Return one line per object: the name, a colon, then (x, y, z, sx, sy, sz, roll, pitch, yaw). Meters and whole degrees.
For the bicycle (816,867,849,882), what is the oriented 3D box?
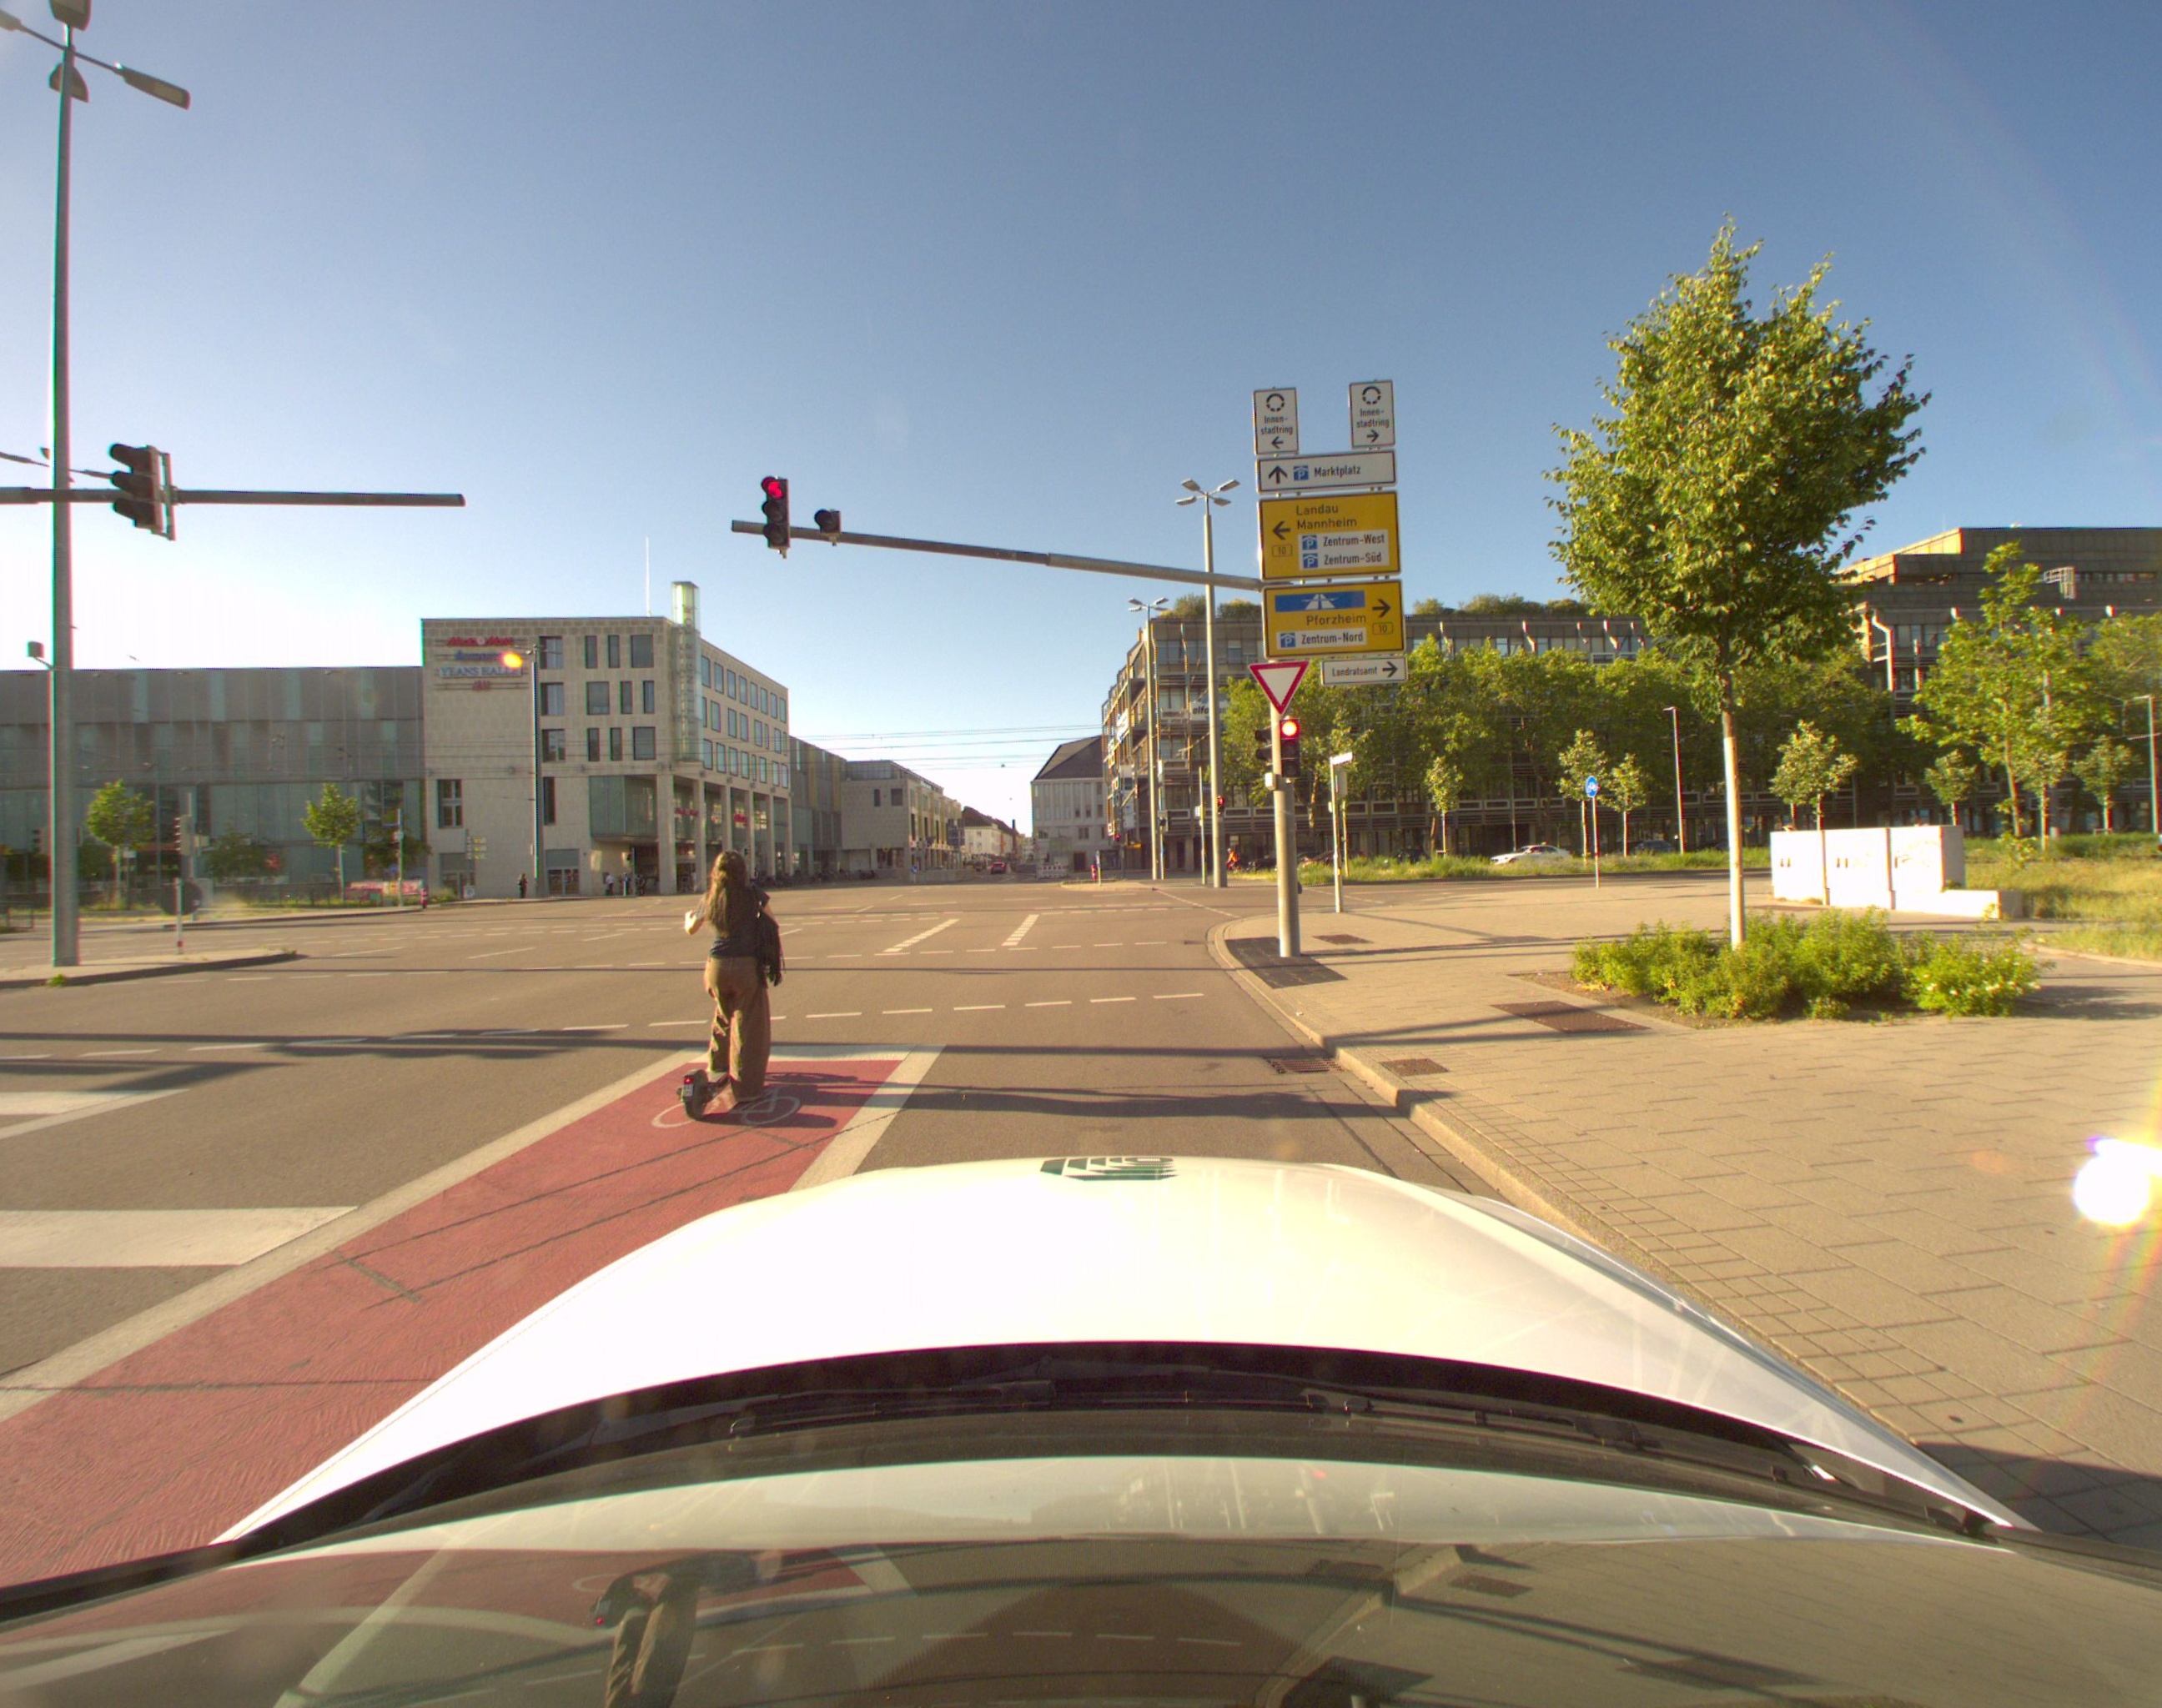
bicycle: (-28.290, 2.324, 92.782, 3.491, 1.527, 0.984, -2, 0, -10)

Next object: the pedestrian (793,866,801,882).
pedestrian: (-30.145, 2.079, 86.450, 0.652, 1.642, 0.693, -2, 0, -7)

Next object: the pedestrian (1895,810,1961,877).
pedestrian: (22.556, -0.270, 21.700, 0.694, 1.728, 0.939, -2, 0, -12)

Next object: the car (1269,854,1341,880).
car: (13.852, 0.783, 50.477, 3.976, 1.508, 1.867, -1, 0, -2)

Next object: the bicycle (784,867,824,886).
bicycle: (-27.248, 2.230, 80.166, 3.491, 1.696, 0.984, -2, 0, -10)

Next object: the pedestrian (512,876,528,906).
pedestrian: (-32.600, 2.146, 47.324, 0.525, 1.694, 0.546, -2, 0, -8)

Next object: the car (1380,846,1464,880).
car: (21.406, 0.562, 51.249, 4.435, 2.014, 1.998, 0, -1, -4)

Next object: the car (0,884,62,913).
car: (-63.876, 2.664, 48.123, 4.459, 1.607, 1.996, -2, 0, -5)

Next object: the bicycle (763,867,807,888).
bicycle: (-26.144, 2.066, 71.958, 3.488, 1.696, 1.114, -2, 0, -7)

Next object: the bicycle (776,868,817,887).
bicycle: (-26.856, 2.195, 76.861, 3.491, 1.696, 0.984, -2, 0, -10)

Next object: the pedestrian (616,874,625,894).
pedestrian: (-36.169, 2.342, 63.911, 0.421, 1.565, 0.456, -2, 0, -8)

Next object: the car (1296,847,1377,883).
car: (14.453, 0.620, 46.211, 3.975, 2.014, 1.999, 0, -1, -1)

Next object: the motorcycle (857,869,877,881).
motorcycle: (-25.968, 2.530, 98.869, 2.269, 1.318, 0.719, -2, 0, -4)

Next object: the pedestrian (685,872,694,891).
pedestrian: (-33.466, 2.328, 69.567, 0.480, 1.585, 0.598, -2, 0, -3)

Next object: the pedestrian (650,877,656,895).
pedestrian: (-34.338, 2.565, 65.361, 0.388, 1.412, 0.434, -2, 0, -27)

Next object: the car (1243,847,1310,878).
car: (12.840, 0.560, 53.625, 3.975, 2.014, 1.999, 0, -1, -1)

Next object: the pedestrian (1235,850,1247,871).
pedestrian: (13.014, 0.548, 66.111, 0.728, 1.658, 0.649, -2, 0, -5)

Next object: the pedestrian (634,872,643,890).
pedestrian: (-35.029, 2.144, 64.460, 0.386, 1.426, 0.501, -2, 0, -9)

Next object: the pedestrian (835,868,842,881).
pedestrian: (-30.660, 2.576, 103.078, 0.696, 1.642, 0.693, -2, 0, -7)

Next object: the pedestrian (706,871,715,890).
pedestrian: (-32.276, 2.324, 70.917, 0.480, 1.585, 0.513, -2, 0, -3)

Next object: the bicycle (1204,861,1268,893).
bicycle: (8.927, 1.315, 47.069, 3.488, 1.659, 0.929, -2, 0, -7)

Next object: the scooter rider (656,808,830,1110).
scooter rider: (-2.132, 0.624, 5.231, 0.726, 1.775, 0.811, -1, 0, 1)

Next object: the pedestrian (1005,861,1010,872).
pedestrian: (-9.755, 1.709, 108.715, 0.608, 1.411, 0.569, -2, 0, -5)

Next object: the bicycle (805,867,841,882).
bicycle: (-27.653, 2.207, 87.453, 3.491, 1.527, 0.984, -2, 0, -10)

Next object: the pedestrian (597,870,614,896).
pedestrian: (-34.134, 2.065, 58.474, 0.755, 1.798, 0.736, -2, 0, -3)

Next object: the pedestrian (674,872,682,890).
pedestrian: (-34.705, 2.335, 70.124, 0.385, 1.585, 0.367, -2, 0, -3)

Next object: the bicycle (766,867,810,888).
bicycle: (-26.320, 2.111, 73.178, 3.488, 1.696, 1.114, -2, 0, -7)

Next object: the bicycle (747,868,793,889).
bicycle: (-26.909, 2.097, 70.487, 3.488, 1.696, 1.114, -2, 0, -7)

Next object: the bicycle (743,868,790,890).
bicycle: (-26.731, 2.093, 69.297, 3.488, 1.696, 1.114, -2, 0, -7)

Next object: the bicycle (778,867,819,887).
bicycle: (-27.044, 2.206, 78.070, 3.491, 1.696, 0.984, -2, 0, -10)

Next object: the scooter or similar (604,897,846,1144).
scooter or similar: (-2.116, 0.921, 5.124, 0.725, 1.202, 1.665, -1, 0, 2)

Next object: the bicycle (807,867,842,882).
bicycle: (-27.922, 2.207, 88.582, 3.491, 1.527, 0.984, -2, 0, -10)

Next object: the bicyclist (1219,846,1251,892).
bicyclist: (8.886, 0.855, 47.073, 1.566, 2.580, 0.929, -2, 0, -7)

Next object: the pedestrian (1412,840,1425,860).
pedestrian: (27.302, -0.317, 65.925, 0.662, 1.658, 0.739, -2, 0, -5)

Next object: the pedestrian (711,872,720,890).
pedestrian: (-32.160, 2.381, 71.693, 0.480, 1.510, 0.513, -2, 0, -3)

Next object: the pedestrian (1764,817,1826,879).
pedestrian: (19.484, -0.160, 22.242, 0.801, 1.630, 0.939, -2, 0, -12)

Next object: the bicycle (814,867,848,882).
bicycle: (-28.172, 2.286, 91.752, 3.491, 1.527, 0.984, -2, 0, -10)

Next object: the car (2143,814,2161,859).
car: (43.179, -0.742, 30.648, 4.387, 1.660, 1.996, -2, 1, -7)

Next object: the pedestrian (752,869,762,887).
pedestrian: (-30.136, 2.224, 75.774, 0.788, 1.642, 0.689, -2, 0, -27)

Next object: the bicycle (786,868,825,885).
bicycle: (-27.410, 2.222, 81.163, 3.491, 1.527, 0.984, -2, 0, -10)

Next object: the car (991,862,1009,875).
car: (-10.790, 1.878, 108.864, 2.195, 1.607, 4.320, -2, 0, -4)

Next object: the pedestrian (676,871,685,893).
pedestrian: (-30.409, 2.147, 61.887, 0.543, 1.642, 0.546, -2, 0, -24)

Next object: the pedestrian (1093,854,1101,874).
pedestrian: (1.355, 0.883, 69.797, 0.661, 1.658, 0.755, -2, 0, -1)

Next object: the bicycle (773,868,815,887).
bicycle: (-26.680, 2.176, 75.764, 3.491, 1.696, 0.984, -2, 0, -10)

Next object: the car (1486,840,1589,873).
car: (28.894, 0.145, 51.655, 5.424, 2.014, 2.097, 0, -1, -1)

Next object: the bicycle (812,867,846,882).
bicycle: (-27.930, 2.244, 90.358, 3.491, 1.527, 0.984, -2, 0, -10)

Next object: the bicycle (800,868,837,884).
bicycle: (-27.548, 2.286, 85.584, 3.491, 1.527, 0.984, -2, 0, -10)

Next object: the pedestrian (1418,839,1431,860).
pedestrian: (27.481, -0.324, 65.134, 0.662, 1.658, 0.739, -2, 0, -5)

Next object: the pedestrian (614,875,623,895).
pedestrian: (-36.368, 2.449, 64.049, 0.420, 1.565, 0.457, -2, 0, 2)
